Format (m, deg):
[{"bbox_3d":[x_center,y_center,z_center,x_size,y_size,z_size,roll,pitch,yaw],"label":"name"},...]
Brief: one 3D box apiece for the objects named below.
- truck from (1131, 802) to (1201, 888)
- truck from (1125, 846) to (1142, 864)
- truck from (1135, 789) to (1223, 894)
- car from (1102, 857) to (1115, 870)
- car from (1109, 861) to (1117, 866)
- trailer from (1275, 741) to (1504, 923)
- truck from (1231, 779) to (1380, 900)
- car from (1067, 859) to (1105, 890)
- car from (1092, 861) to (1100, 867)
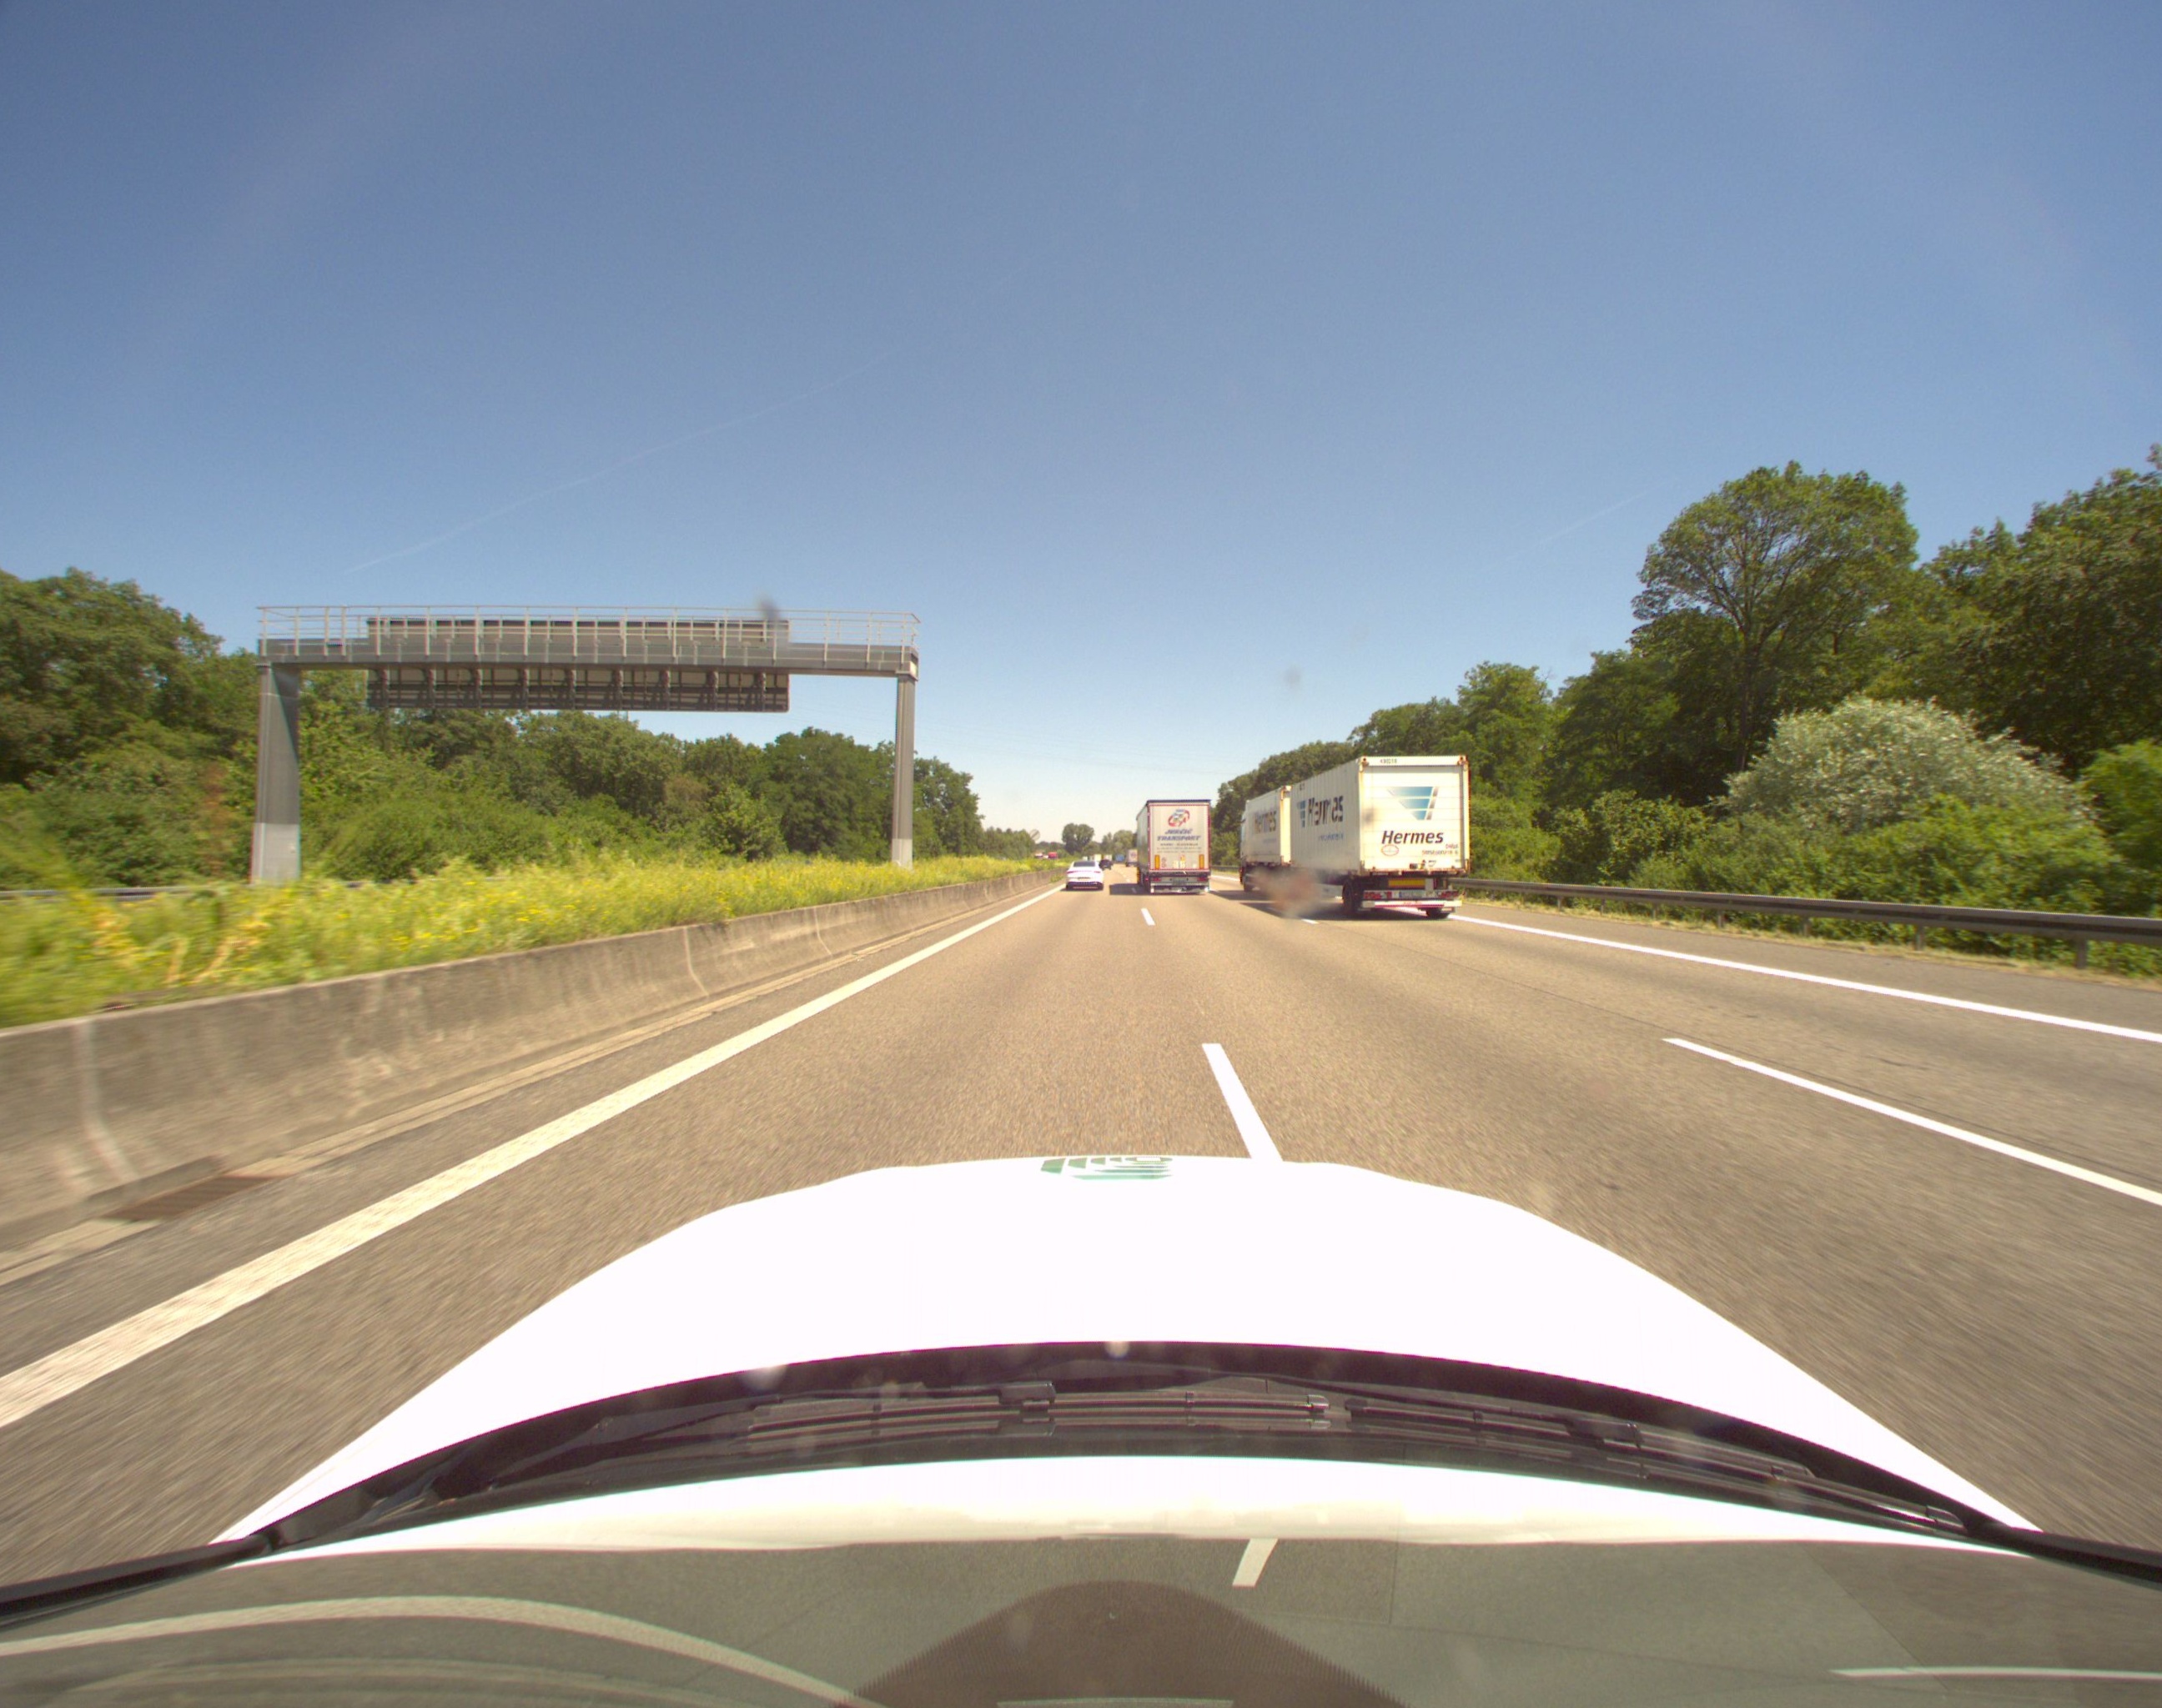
[{"bbox_3d":[4.395,-0.448,43.342,3.206,4.205,6.552,-1,0,1],"label":"truck"},{"bbox_3d":[11.997,0.296,187.276,3.432,3.989,9.518,-1,0,2],"label":"truck"},{"bbox_3d":[4.182,-0.474,36.740,3.217,4.202,8.469,0,0,2],"label":"truck"},{"bbox_3d":[4.399,1.551,131.316,1.986,1.874,4.001,0,1,1],"label":"car"},{"bbox_3d":[9.026,2.683,229.853,1.986,1.596,4.002,-1,0,2],"label":"car"},{"bbox_3d":[8.116,-0.501,23.094,3.354,4.142,9.096,0,0,2],"label":"trailer"},{"bbox_3d":[8.507,-0.433,32.731,3.313,4.053,10.957,0,-1,2],"label":"truck"},{"bbox_3d":[0.277,0.989,40.996,1.760,1.448,5.109,-1,0,1],"label":"car"},{"bbox_3d":[4.134,2.690,224.114,1.986,1.596,4.002,-1,0,2],"label":"car"}]
